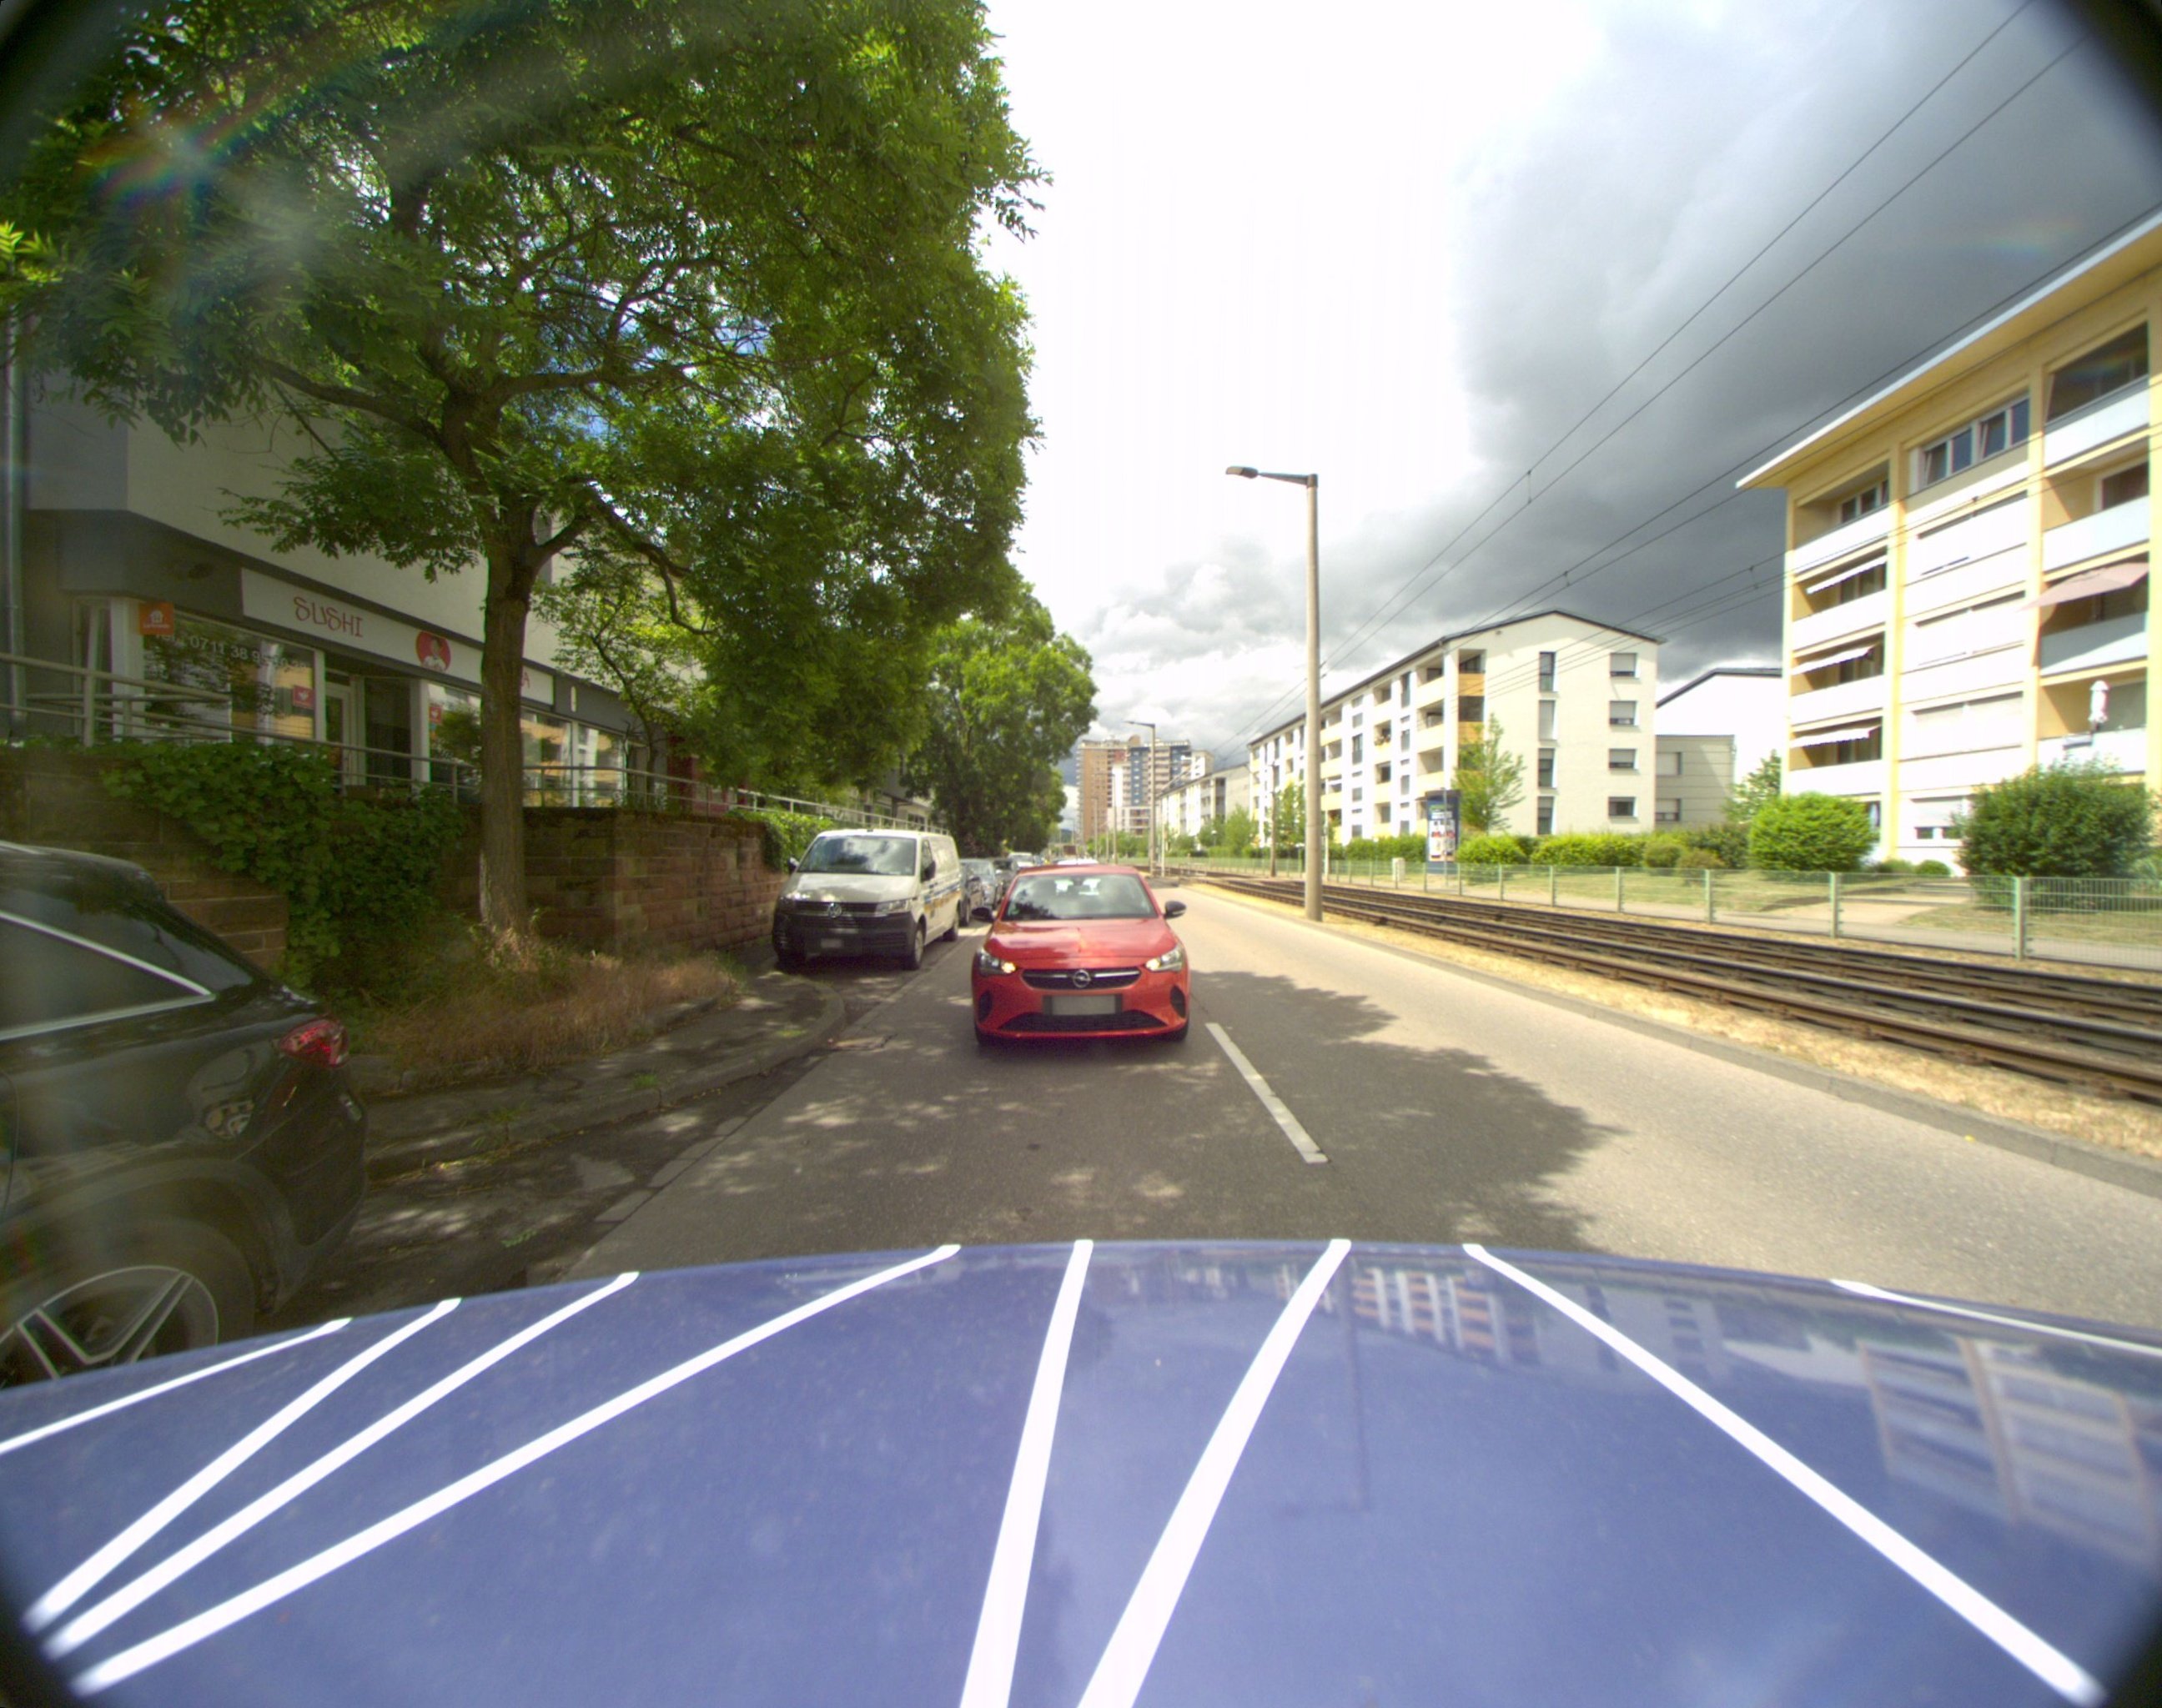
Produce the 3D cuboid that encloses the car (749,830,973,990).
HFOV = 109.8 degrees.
[{"bbox_3d":[-3.084,0.678,11.916,1.978,1.958,5.012,-1,0,0],"label":"car"}]

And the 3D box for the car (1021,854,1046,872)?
[{"bbox_3d":[-3.819,0.708,61.774,1.784,1.420,4.147,-1,0,0],"label":"car"}]

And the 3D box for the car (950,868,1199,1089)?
[{"bbox_3d":[-0.005,0.900,7.264,1.723,1.434,4.000,0,0,1],"label":"car"}]

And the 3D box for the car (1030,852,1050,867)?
[{"bbox_3d":[-4.244,0.559,79.122,1.784,1.420,4.147,-1,0,0],"label":"car"}]

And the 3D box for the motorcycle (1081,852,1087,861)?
[{"bbox_3d":[0.366,0.329,106.534,0.783,1.181,1.869,-1,1,-1],"label":"motorcycle"}]

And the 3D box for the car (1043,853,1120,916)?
[{"bbox_3d":[-0.020,0.778,21.536,1.927,1.543,3.999,-2,0,-1],"label":"car"}]

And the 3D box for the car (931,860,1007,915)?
[{"bbox_3d":[-3.267,0.918,22.806,1.785,1.420,4.144,-1,0,-2],"label":"car"}]

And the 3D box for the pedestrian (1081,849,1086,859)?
[{"bbox_3d":[0.350,-0.024,106.625,0.737,1.408,0.927,-2,1,-1],"label":"pedestrian"}]

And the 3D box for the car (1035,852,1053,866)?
[{"bbox_3d":[-4.148,0.543,86.136,1.784,1.420,4.147,-1,0,0],"label":"car"}]

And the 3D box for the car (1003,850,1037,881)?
[{"bbox_3d":[-3.579,0.645,45.225,1.819,1.644,4.145,-2,1,-2],"label":"car"}]

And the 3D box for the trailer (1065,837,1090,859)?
[{"bbox_3d":[-0.759,-0.931,127.480,2.876,3.428,14.608,-3,0,-5],"label":"trailer"}]

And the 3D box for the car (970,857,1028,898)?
[{"bbox_3d":[-3.132,0.868,29.876,1.784,1.420,4.147,-1,0,0],"label":"car"}]

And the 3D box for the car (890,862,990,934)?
[{"bbox_3d":[-3.152,0.930,17.609,1.578,1.420,3.734,-1,0,0],"label":"car"}]

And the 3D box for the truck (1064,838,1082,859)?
[{"bbox_3d":[-1.454,-0.973,135.596,2.853,3.429,4.413,-3,1,-5],"label":"truck"}]
